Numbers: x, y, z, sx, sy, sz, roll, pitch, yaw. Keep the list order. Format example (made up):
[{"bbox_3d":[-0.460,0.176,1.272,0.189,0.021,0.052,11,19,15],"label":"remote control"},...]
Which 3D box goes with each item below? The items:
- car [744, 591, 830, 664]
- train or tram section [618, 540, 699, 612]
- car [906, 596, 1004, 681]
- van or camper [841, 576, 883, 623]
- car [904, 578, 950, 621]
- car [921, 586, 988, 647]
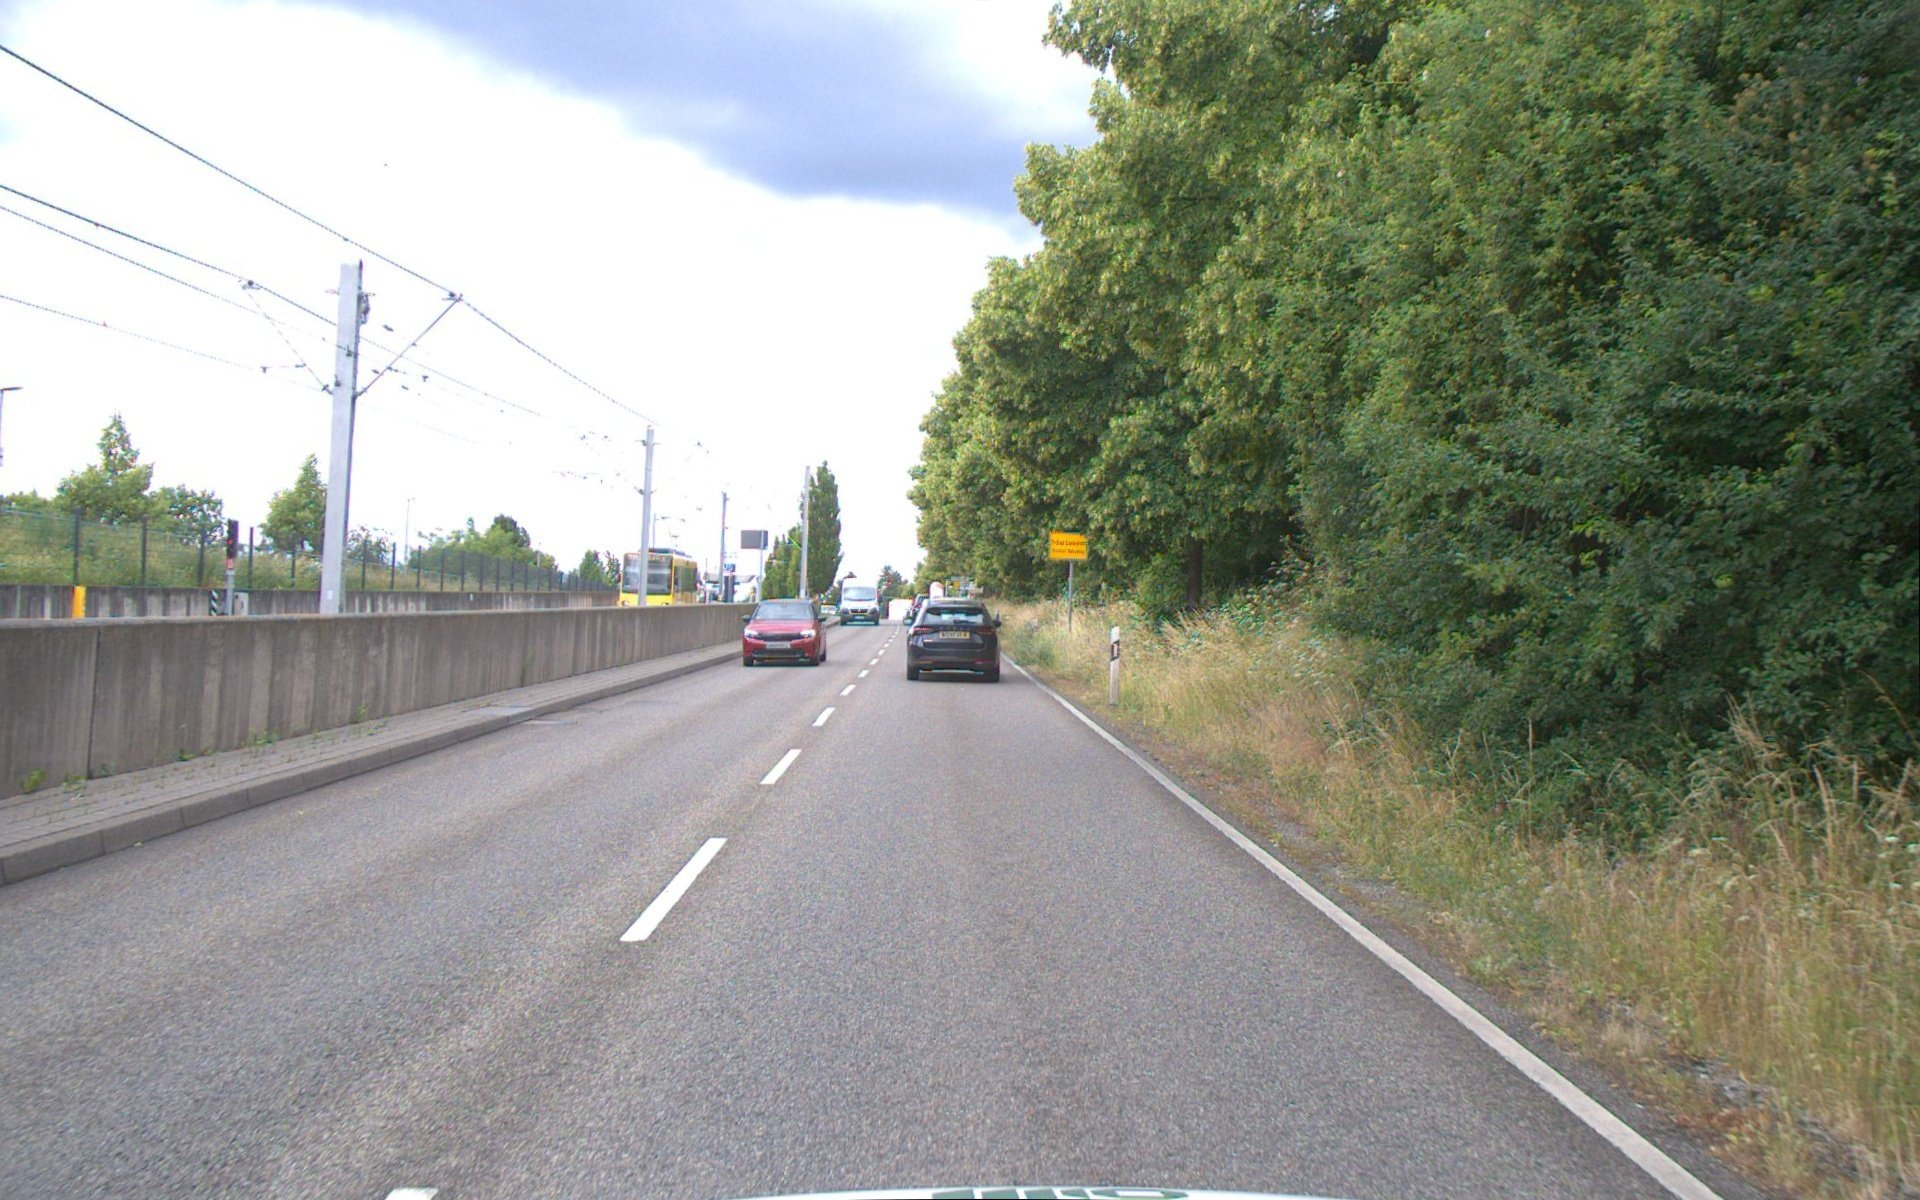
[{"bbox_3d":[-3.884,0.586,37.564,1.629,1.572,3.951,0,0,-2],"label":"car"},{"bbox_3d":[-15.133,-1.026,84.298,2.758,3.172,18.886,1,-1,-7],"label":"train or tram section"},{"bbox_3d":[-0.128,0.682,31.475,1.745,1.493,3.999,0,0,-1],"label":"car"},{"bbox_3d":[-5.274,-0.053,89.549,2.040,2.438,6.135,1,0,-2],"label":"van or camper"},{"bbox_3d":[-1.419,-0.001,71.378,1.953,1.771,3.999,1,-1,-1],"label":"car"},{"bbox_3d":[-0.191,0.480,50.610,1.953,1.783,3.999,0,0,-1],"label":"car"}]
